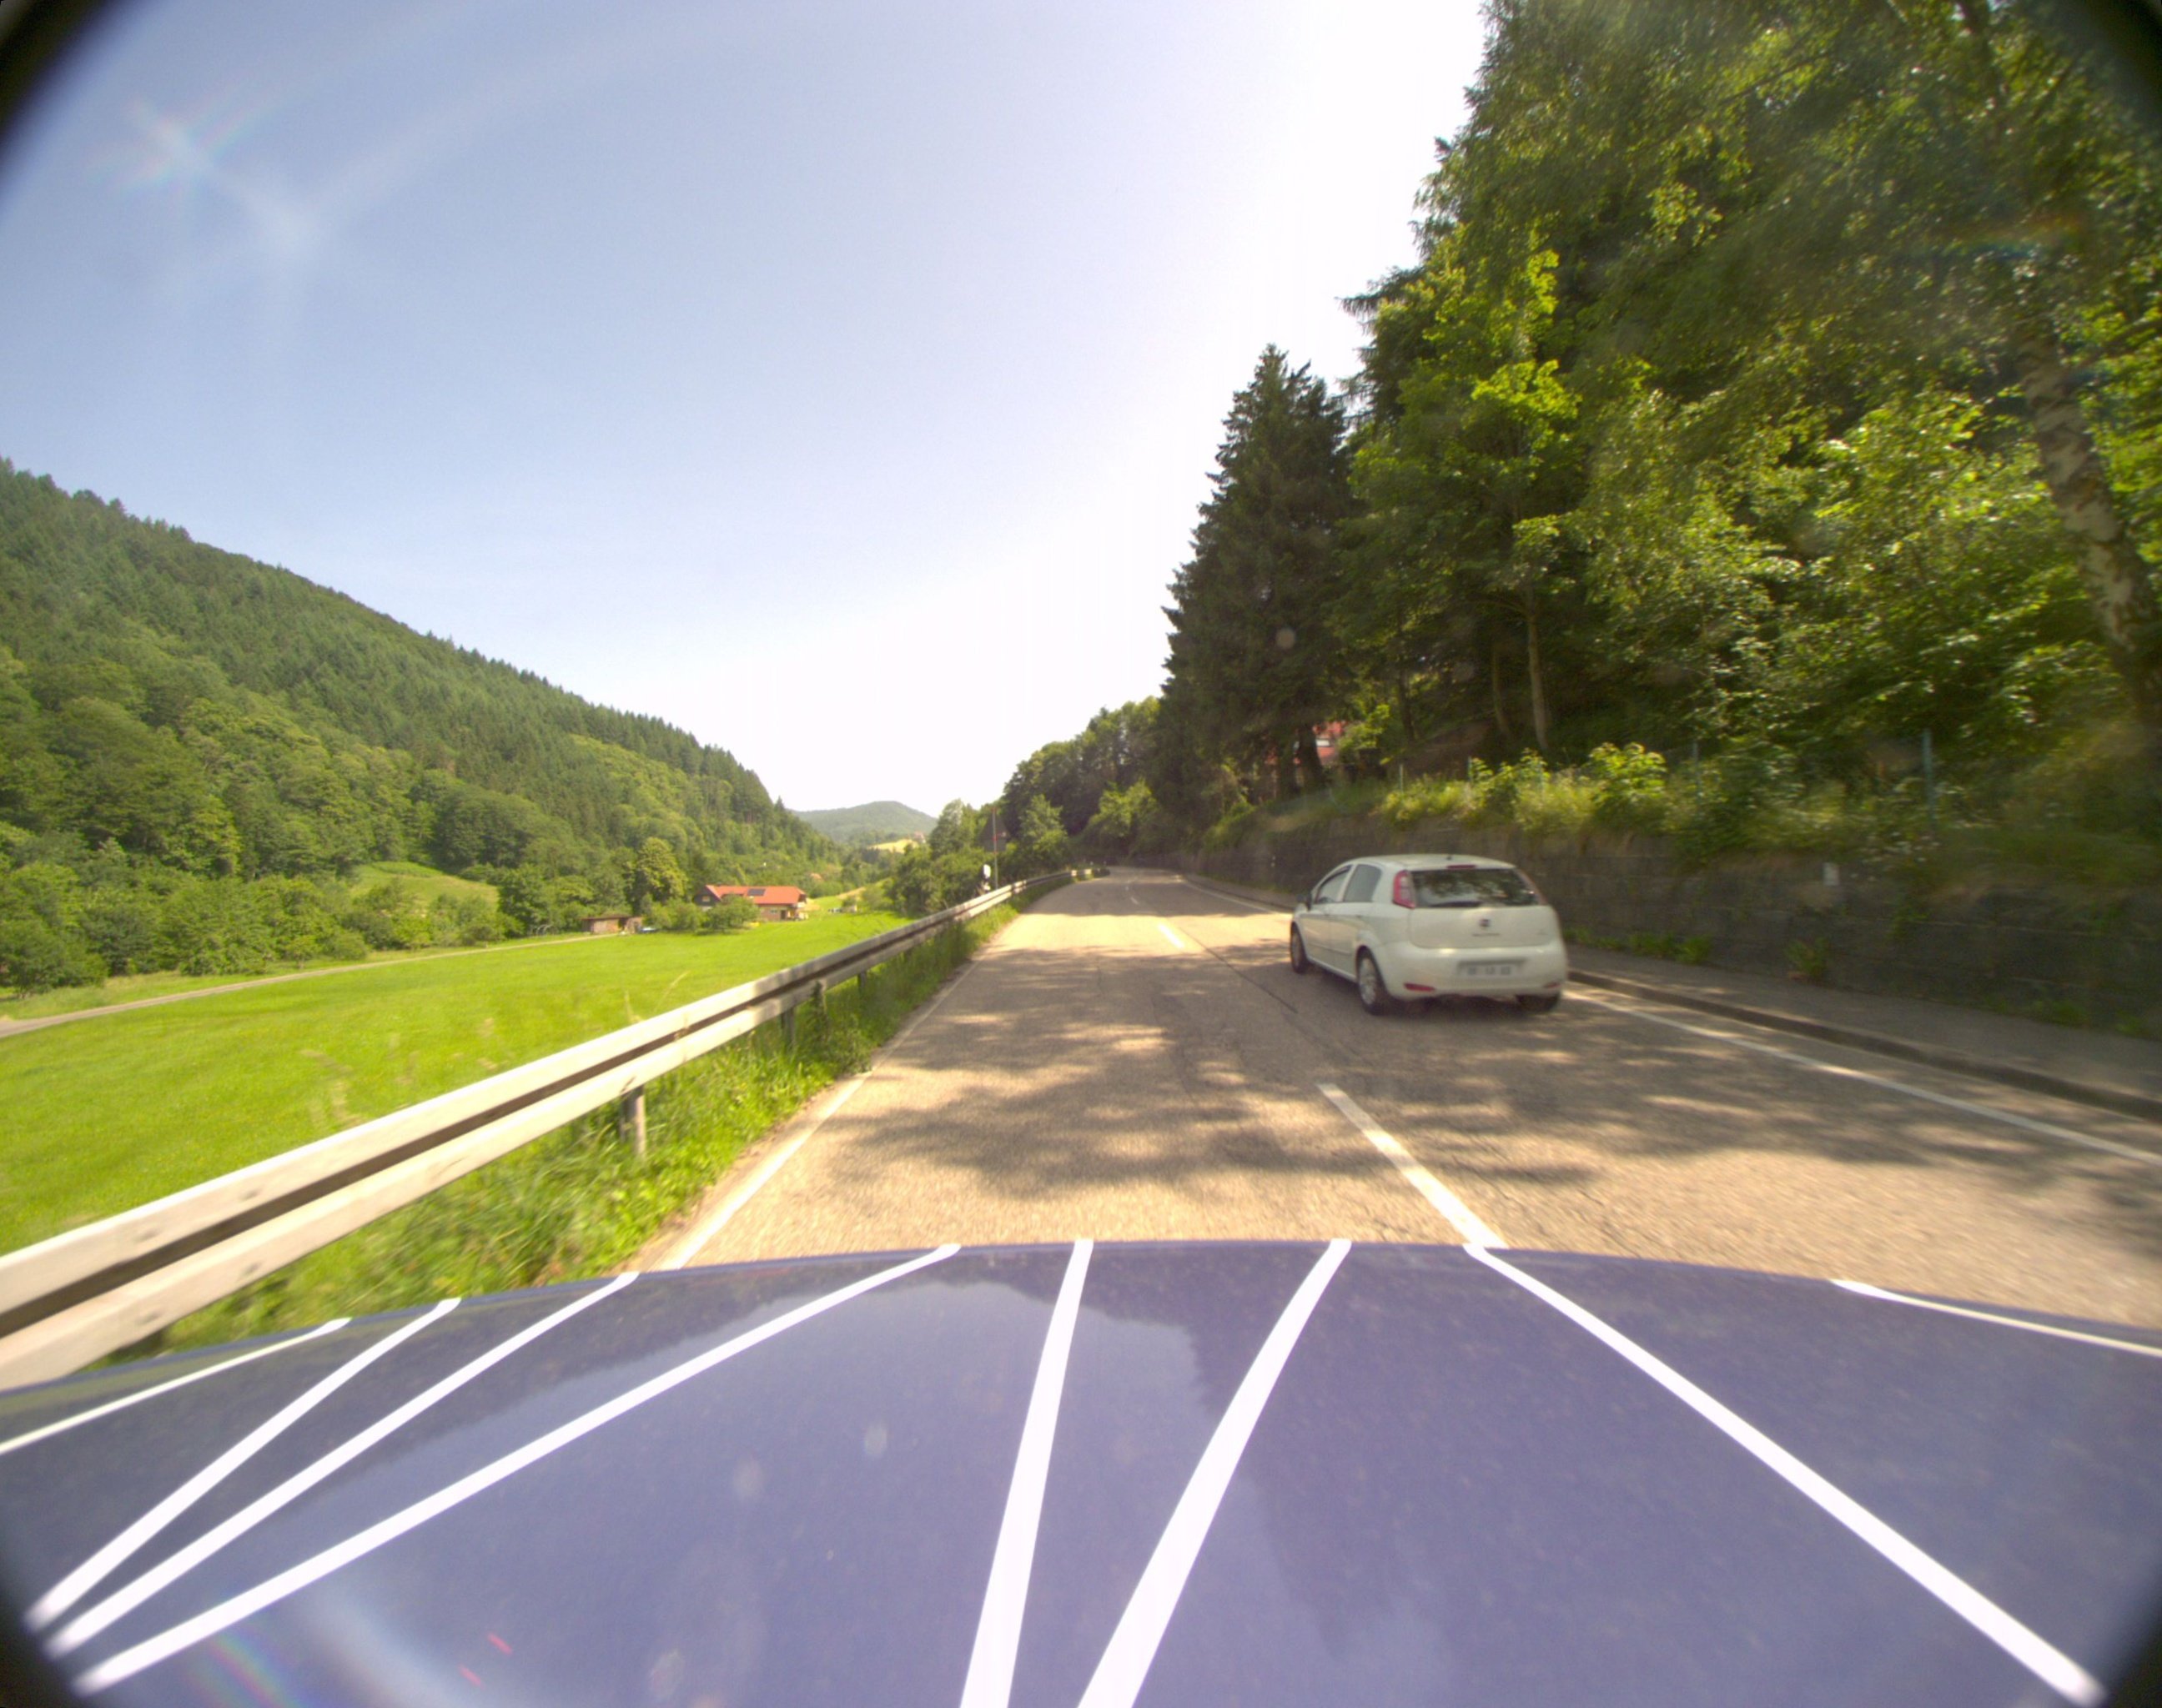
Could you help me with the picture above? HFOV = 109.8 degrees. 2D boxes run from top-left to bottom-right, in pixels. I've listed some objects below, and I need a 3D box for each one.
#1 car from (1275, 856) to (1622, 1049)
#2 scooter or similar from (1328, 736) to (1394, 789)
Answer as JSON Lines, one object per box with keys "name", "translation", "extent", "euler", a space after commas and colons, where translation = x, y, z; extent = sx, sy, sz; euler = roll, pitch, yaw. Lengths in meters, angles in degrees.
{"name": "car", "translation": [3.430, 0.792, 8.028], "extent": [1.782, 1.429, 3.999], "euler": [-1, 1, 1]}
{"name": "scooter or similar", "translation": [14.223, -4.624, 38.880], "extent": [1.982, 2.015, 4.407], "euler": [-6, 0, 6]}
